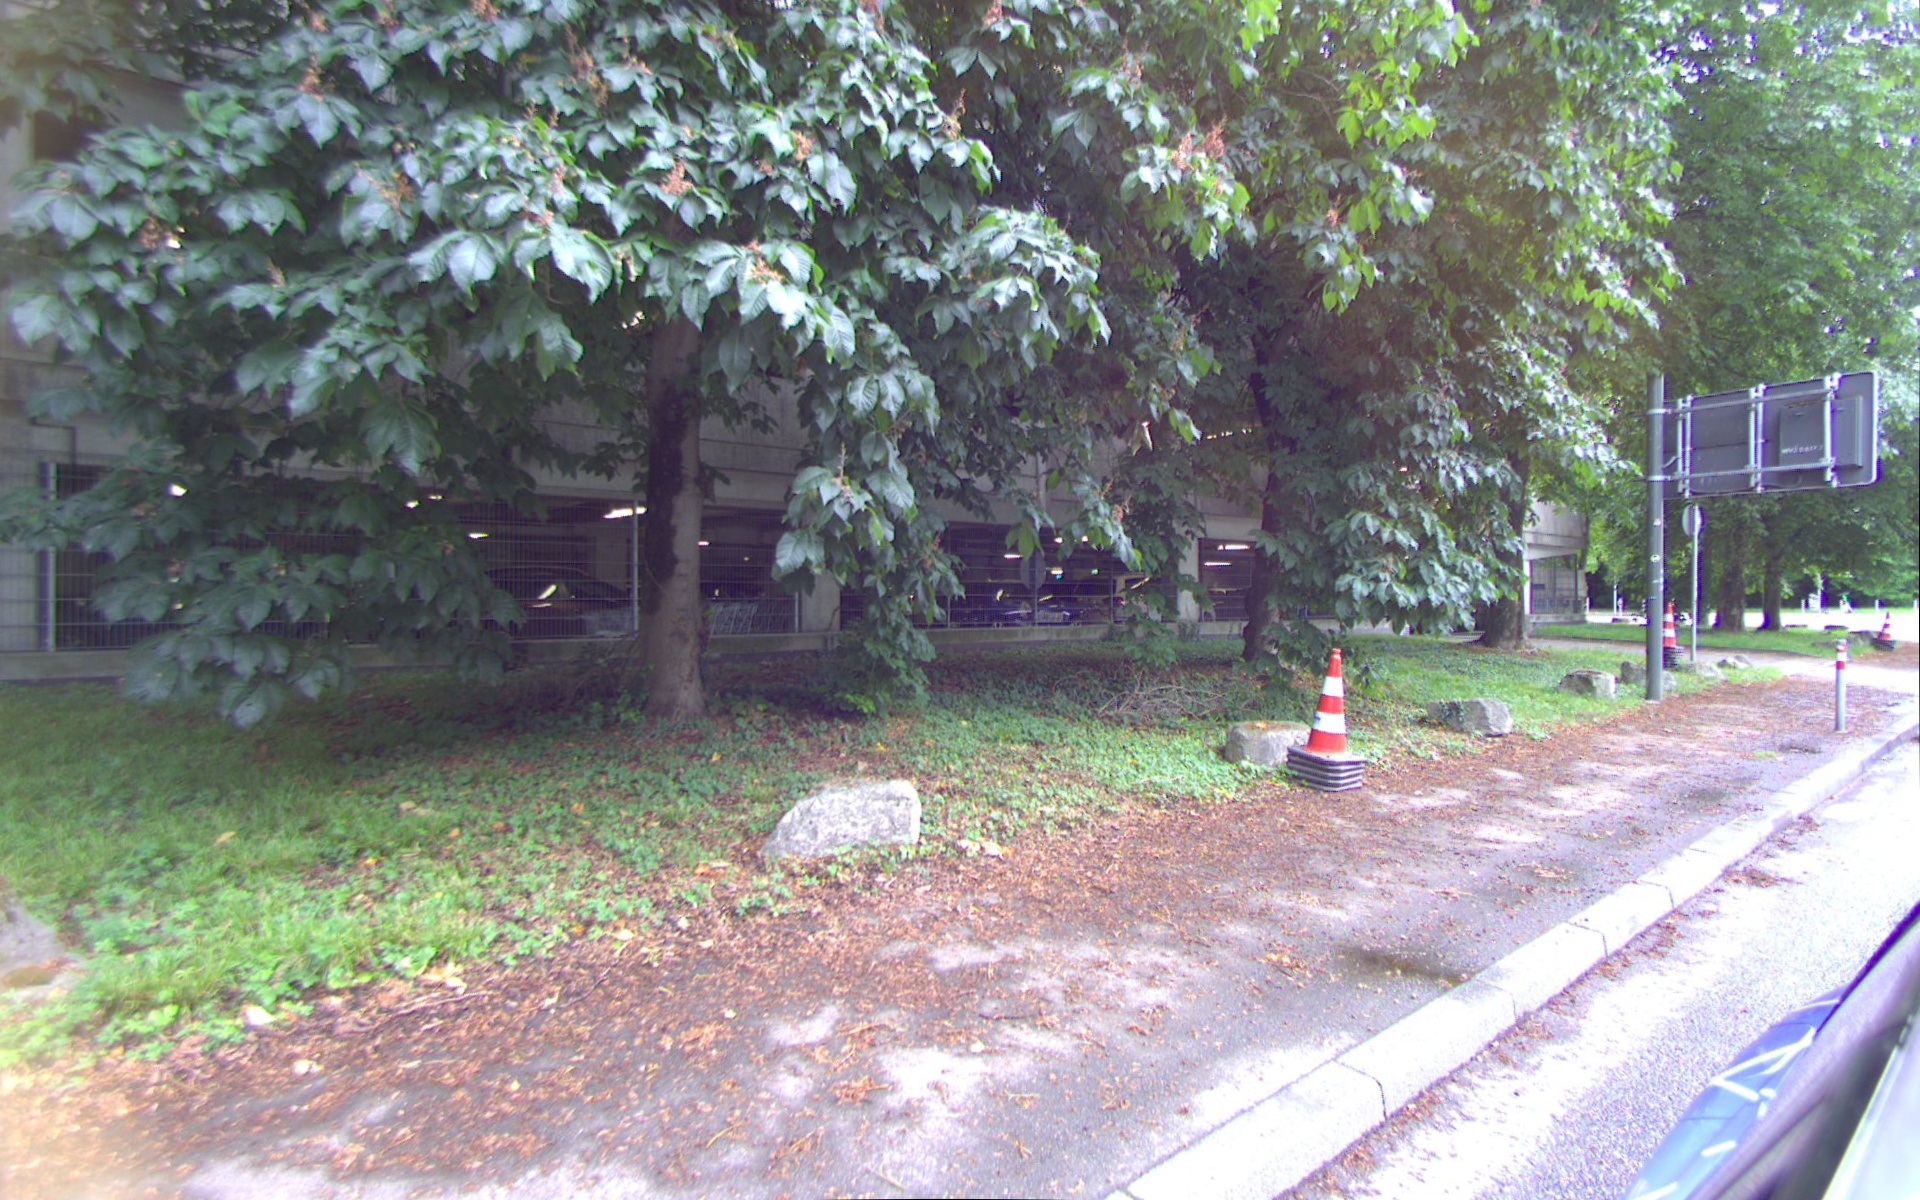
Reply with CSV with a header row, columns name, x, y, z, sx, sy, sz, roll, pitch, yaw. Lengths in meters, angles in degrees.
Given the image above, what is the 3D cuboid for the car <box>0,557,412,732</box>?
name,x,y,z,sx,sy,sz,roll,pitch,yaw
car,-10.330,0.468,13.894,4.594,2.039,1.996,-2,0,-41

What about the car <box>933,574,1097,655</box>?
name,x,y,z,sx,sy,sz,roll,pitch,yaw
car,1.355,0.290,23.805,3.791,1.730,1.588,-2,0,-41

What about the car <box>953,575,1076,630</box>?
name,x,y,z,sx,sy,sz,roll,pitch,yaw
car,1.721,0.064,31.358,3.639,1.565,1.718,-2,1,-42

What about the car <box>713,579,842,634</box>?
name,x,y,z,sx,sy,sz,roll,pitch,yaw
car,-5.715,0.173,31.858,3.638,1.565,1.719,-2,1,-41

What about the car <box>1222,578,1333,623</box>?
name,x,y,z,sx,sy,sz,roll,pitch,yaw
car,11.364,0.005,36.144,3.927,1.471,1.876,-2,1,-38

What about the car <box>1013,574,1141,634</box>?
name,x,y,z,sx,sy,sz,roll,pitch,yaw
car,3.450,0.080,29.412,3.629,1.606,1.718,-2,1,-42

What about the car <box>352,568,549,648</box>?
name,x,y,z,sx,sy,sz,roll,pitch,yaw
car,-11.442,0.134,22.844,3.639,1.627,1.718,-2,1,-42

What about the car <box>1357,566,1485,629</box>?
name,x,y,z,sx,sy,sz,roll,pitch,yaw
car,14.545,-0.086,31.806,4.653,1.858,1.922,-1,0,-41

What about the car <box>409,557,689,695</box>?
name,x,y,z,sx,sy,sz,roll,pitch,yaw
car,-6.870,0.341,17.080,3.929,2.039,1.997,-2,0,-40

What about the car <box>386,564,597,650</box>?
name,x,y,z,sx,sy,sz,roll,pitch,yaw
car,-9.753,0.105,21.200,3.639,1.627,1.718,-2,1,-42

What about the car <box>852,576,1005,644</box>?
name,x,y,z,sx,sy,sz,roll,pitch,yaw
car,-0.760,0.223,25.798,3.639,1.565,1.718,-2,1,-42

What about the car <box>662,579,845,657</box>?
name,x,y,z,sx,sy,sz,roll,pitch,yaw
car,-4.587,0.359,22.698,3.639,1.565,1.718,-2,1,-42

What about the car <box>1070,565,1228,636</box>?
name,x,y,z,sx,sy,sz,roll,pitch,yaw
car,5.077,-0.031,26.818,4.587,1.730,1.588,-2,0,-41

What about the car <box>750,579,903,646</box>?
name,x,y,z,sx,sy,sz,roll,pitch,yaw
car,-3.448,0.289,26.541,3.639,1.565,1.718,-2,1,-42
